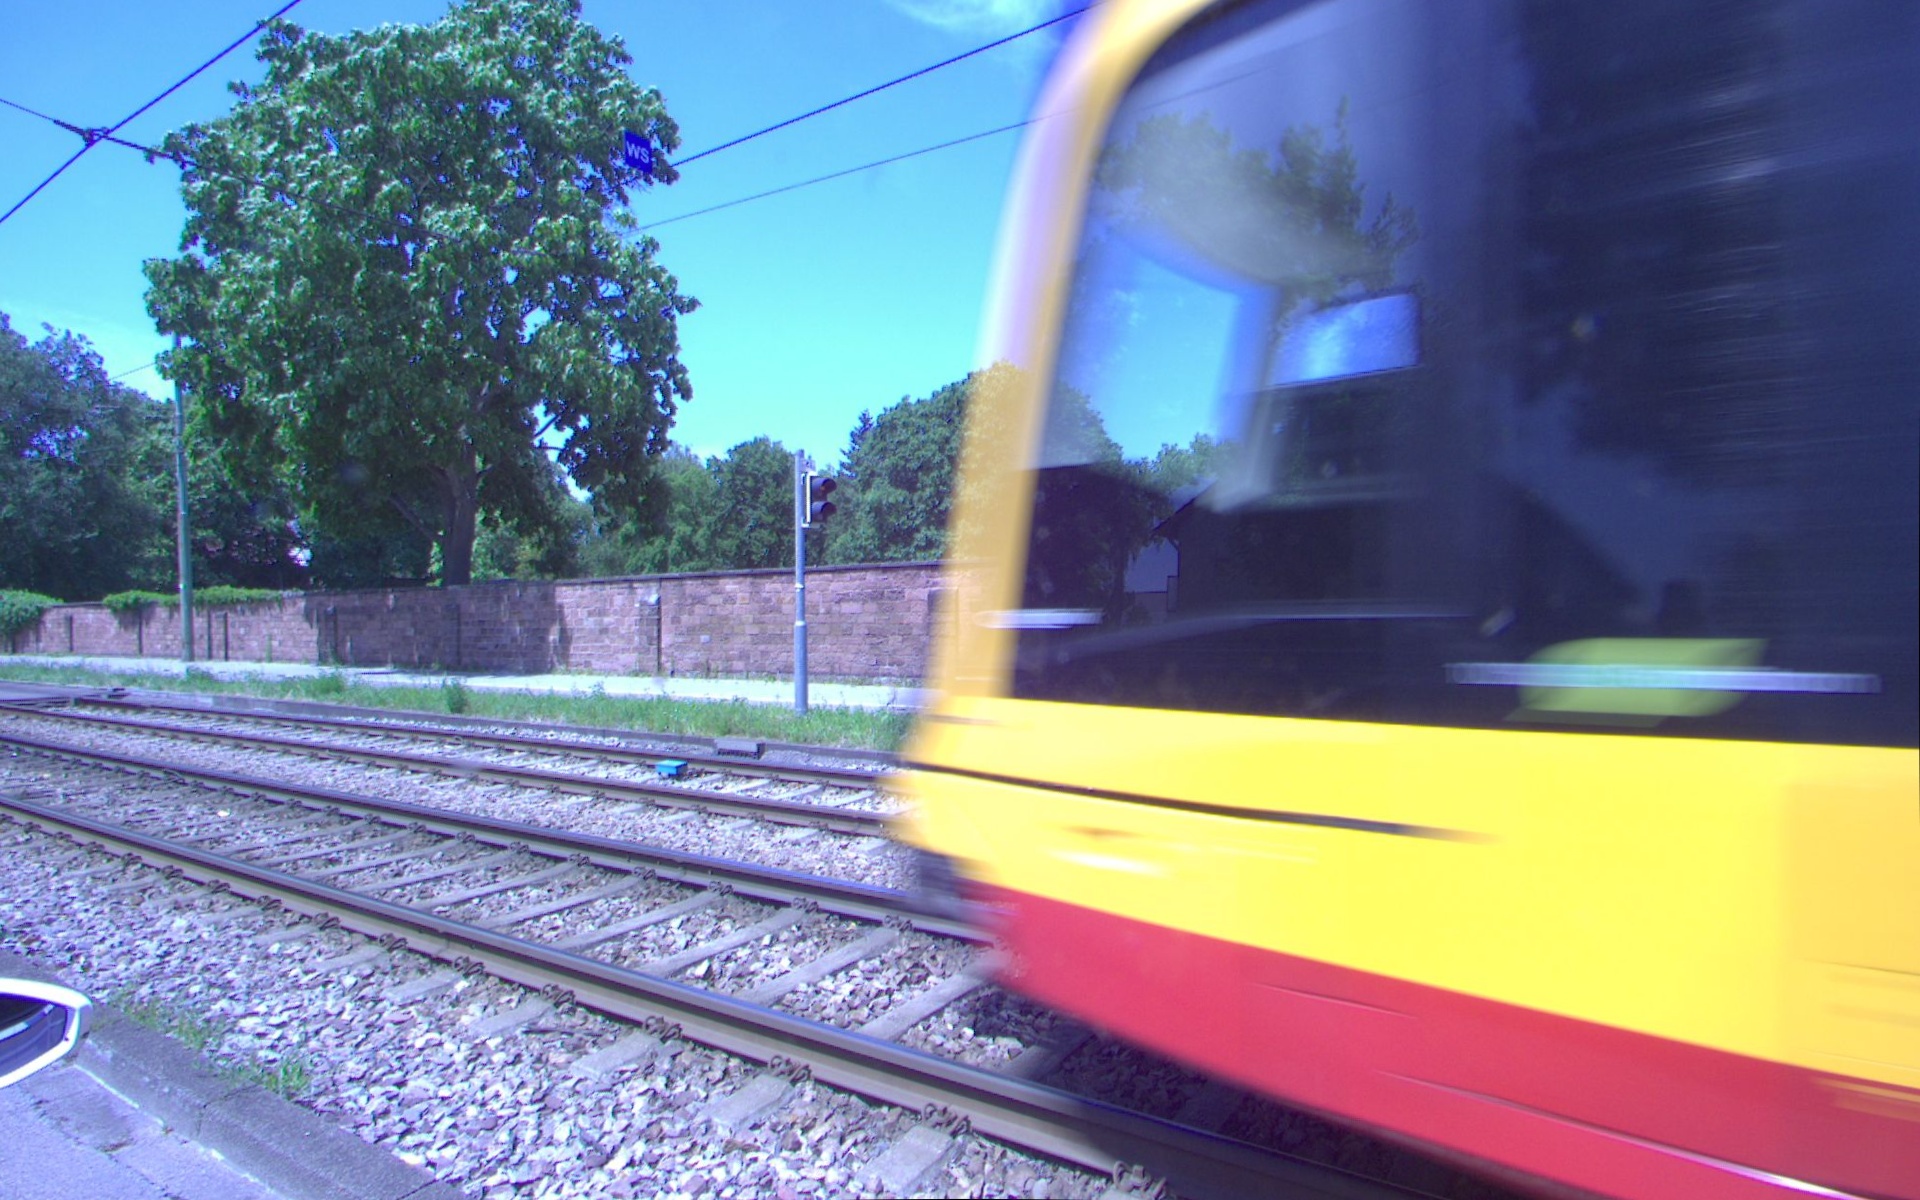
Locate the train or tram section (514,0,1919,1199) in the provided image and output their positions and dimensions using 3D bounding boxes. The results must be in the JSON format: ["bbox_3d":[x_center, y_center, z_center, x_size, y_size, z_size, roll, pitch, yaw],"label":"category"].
[{"bbox_3d":[5.362,0.190,0.342,14.060,3.855,2.801,-1,-2,32],"label":"train or tram section"}]
